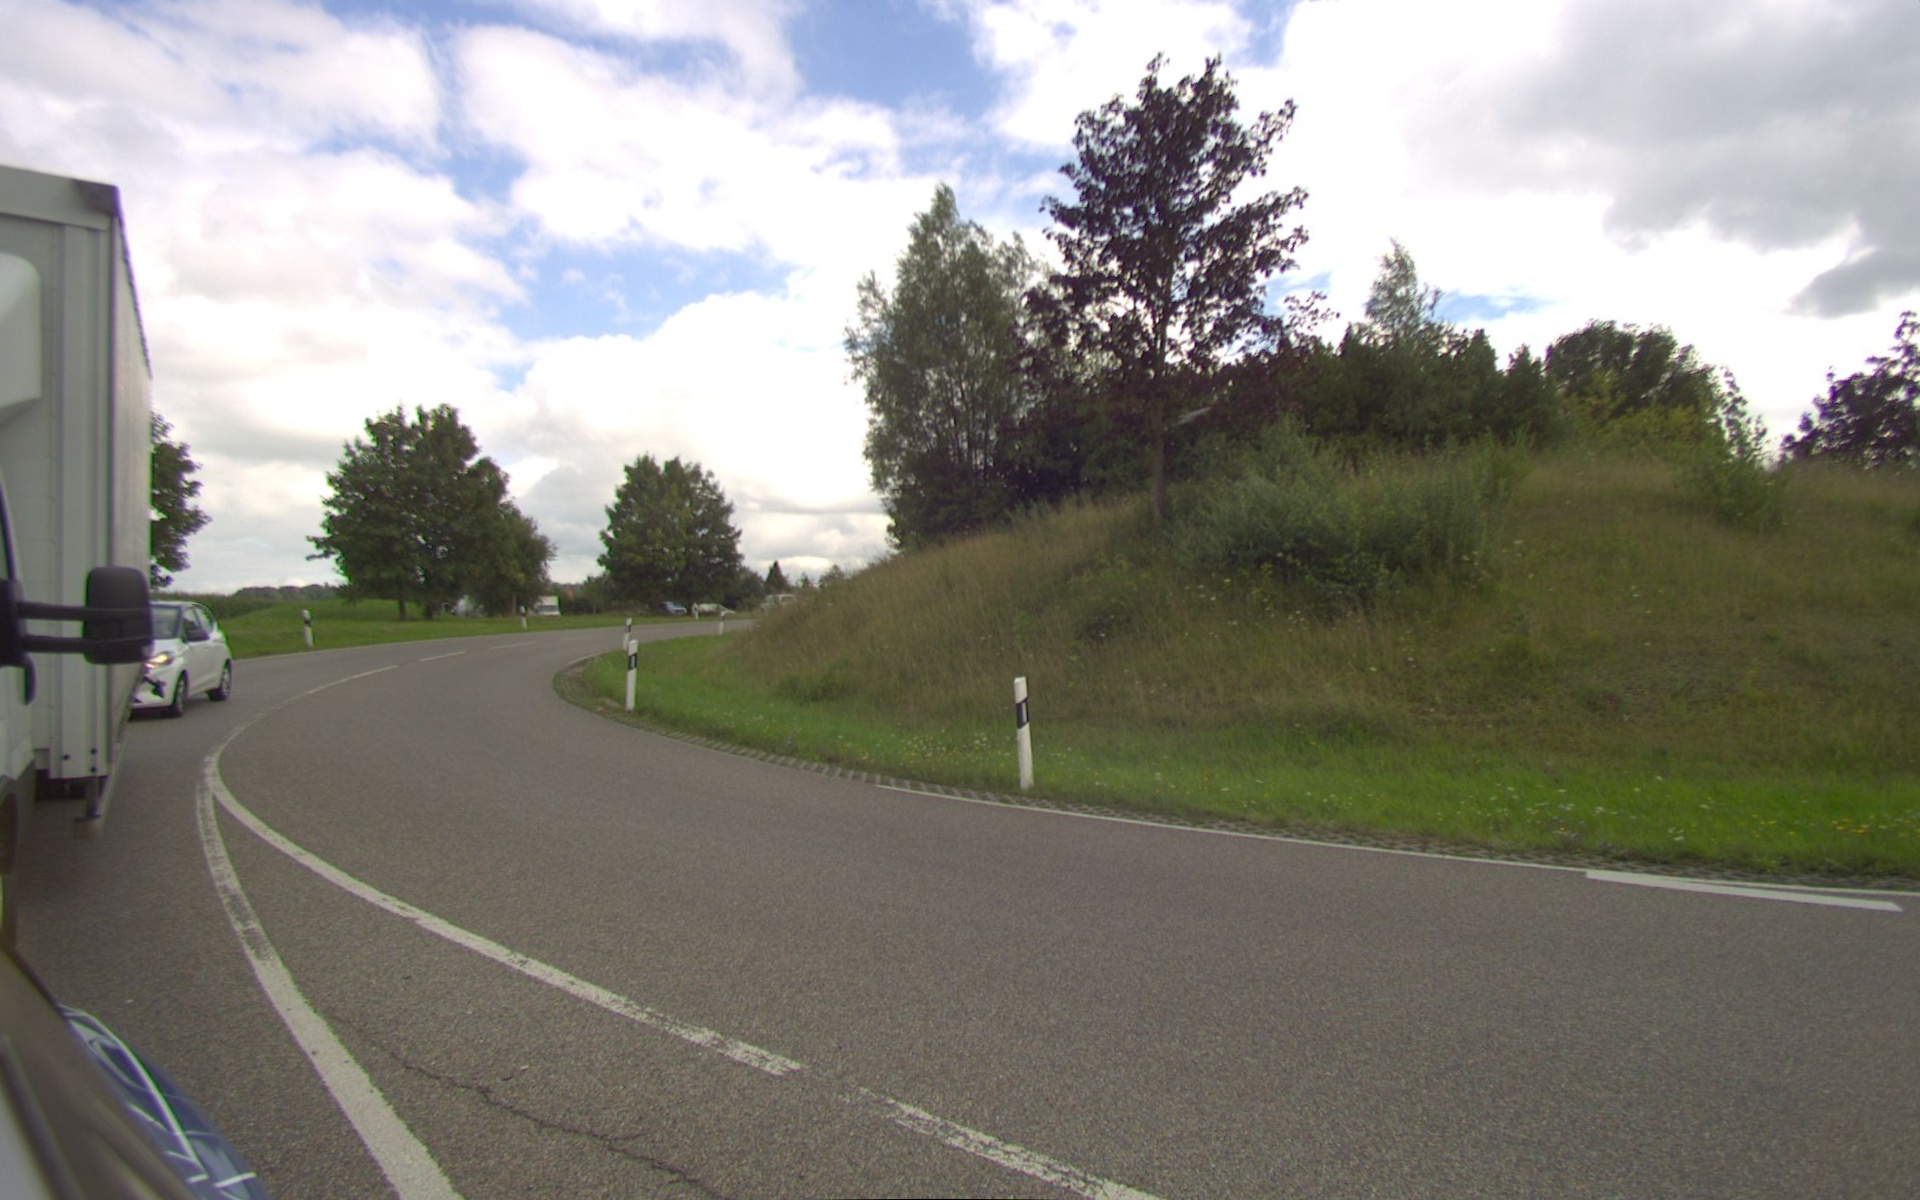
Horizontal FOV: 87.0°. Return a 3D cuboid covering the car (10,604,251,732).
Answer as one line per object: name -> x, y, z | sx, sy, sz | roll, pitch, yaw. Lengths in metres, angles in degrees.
car -> -11.374, 0.847, 14.198 | 1.721, 1.477, 4.013 | -1, -1, -26

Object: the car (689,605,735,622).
car -> -25.851, 1.387, 105.504 | 4.328, 1.597, 2.007 | -1, -1, -23

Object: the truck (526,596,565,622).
truck -> -41.047, 0.913, 100.106 | 2.254, 2.439, 6.398 | -1, 0, -34

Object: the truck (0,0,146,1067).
truck -> -6.472, -0.447, 5.758 | 2.794, 3.792, 8.816 | 1, -2, -39
